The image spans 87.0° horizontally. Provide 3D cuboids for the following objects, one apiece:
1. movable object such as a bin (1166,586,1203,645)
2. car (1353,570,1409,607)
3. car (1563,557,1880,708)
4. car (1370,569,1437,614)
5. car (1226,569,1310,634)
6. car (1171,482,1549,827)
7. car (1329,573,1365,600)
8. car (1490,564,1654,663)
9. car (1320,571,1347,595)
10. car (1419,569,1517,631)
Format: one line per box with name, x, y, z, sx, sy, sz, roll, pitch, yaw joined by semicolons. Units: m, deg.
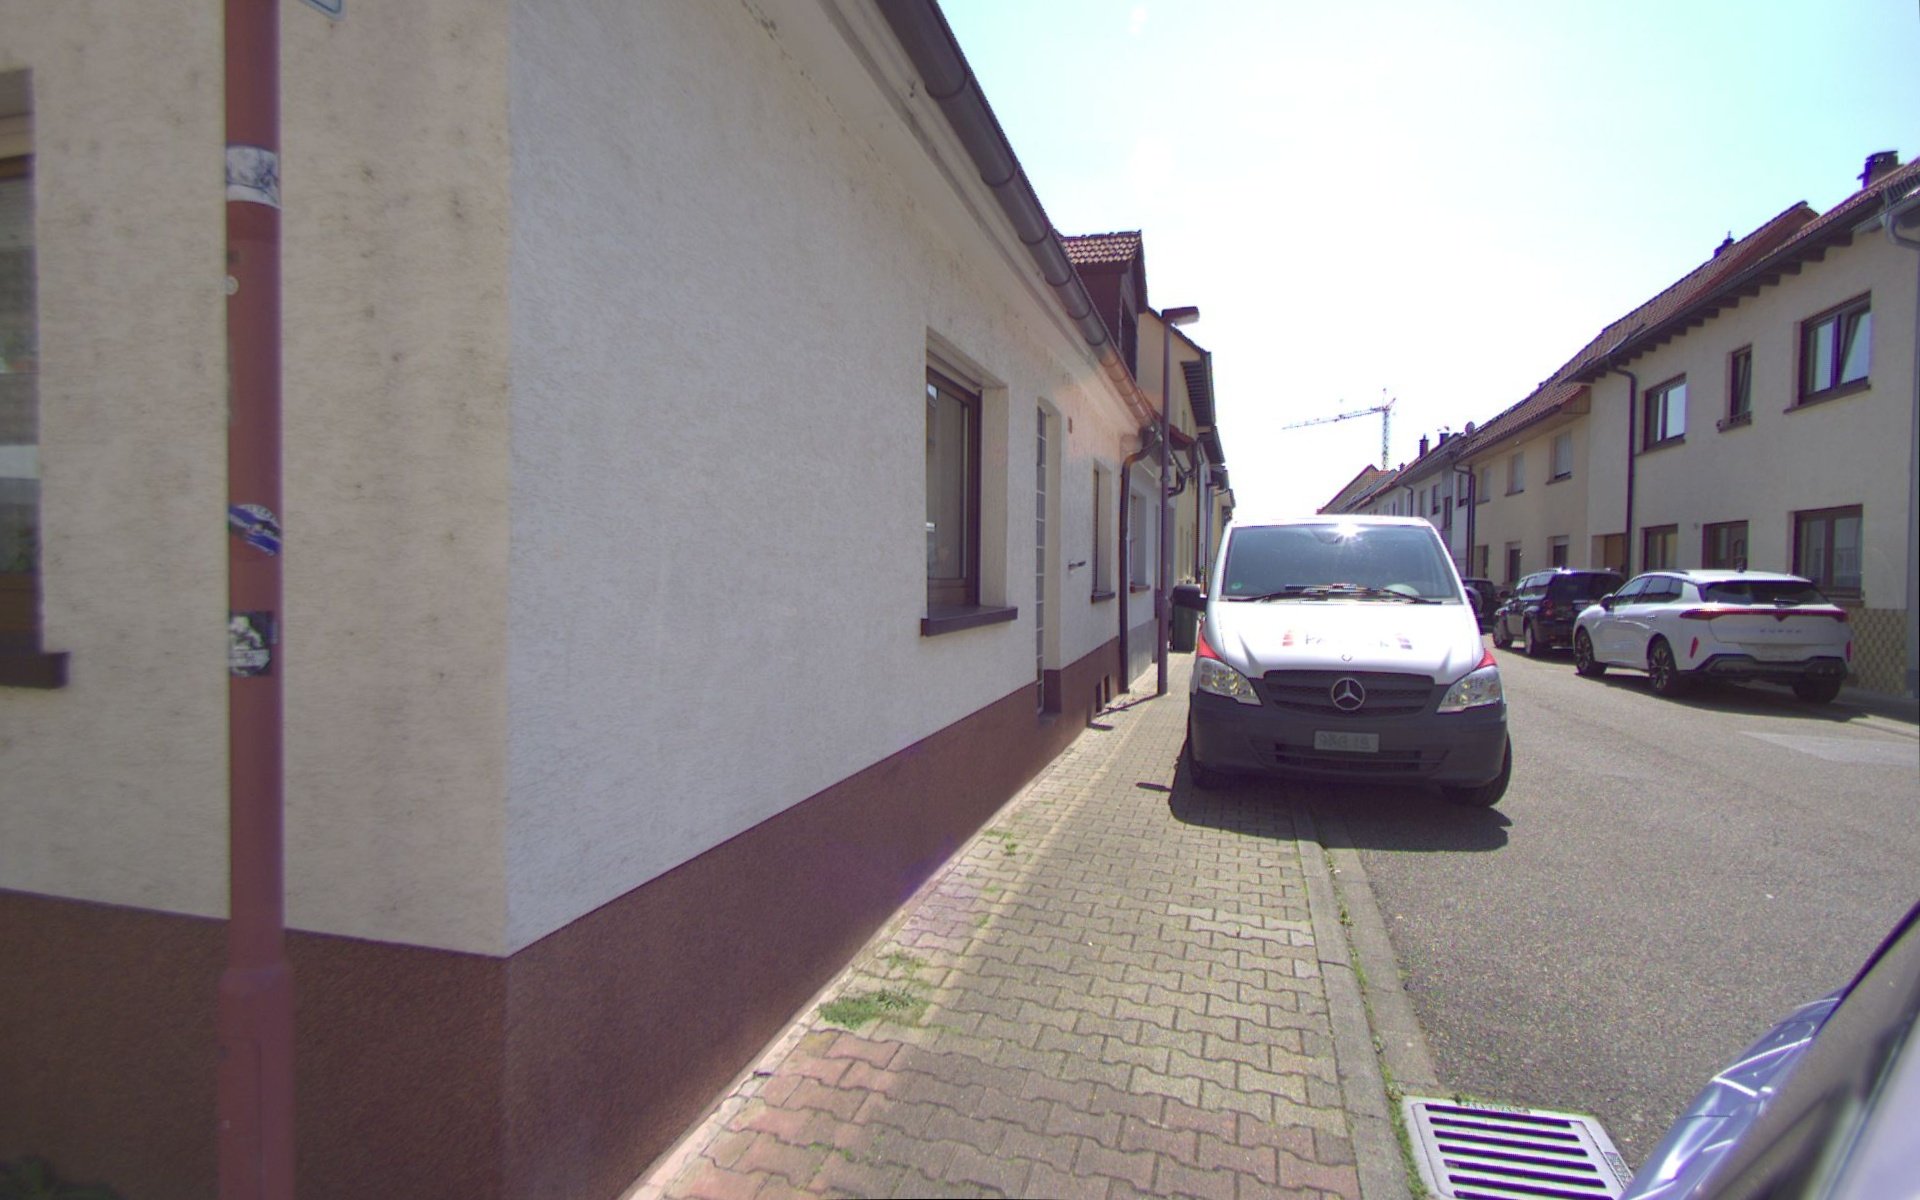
movable object such as a bin;4.305;0.279;19.356;0.651;1.084;0.809;1;2;14
car;18.673;-0.549;45.019;1.643;1.560;3.675;1;2;13
car;9.912;0.283;13.663;1.753;1.635;4.332;2;2;13
car;17.339;-0.376;39.717;1.643;1.568;3.928;2;3;13
car;7.754;-0.040;25.807;1.818;1.466;4.756;0;2;15
car;2.912;0.208;8.264;1.991;1.861;5.240;0;2;16
car;21.856;-0.785;57.263;1.586;1.460;3.197;2;2;17
car;11.557;0.164;19.408;1.705;1.635;3.968;2;2;17
car;24.596;-1.114;66.766;1.396;1.473;3.444;2;2;17
car;14.400;-0.061;28.873;1.622;1.556;3.926;2;2;14
